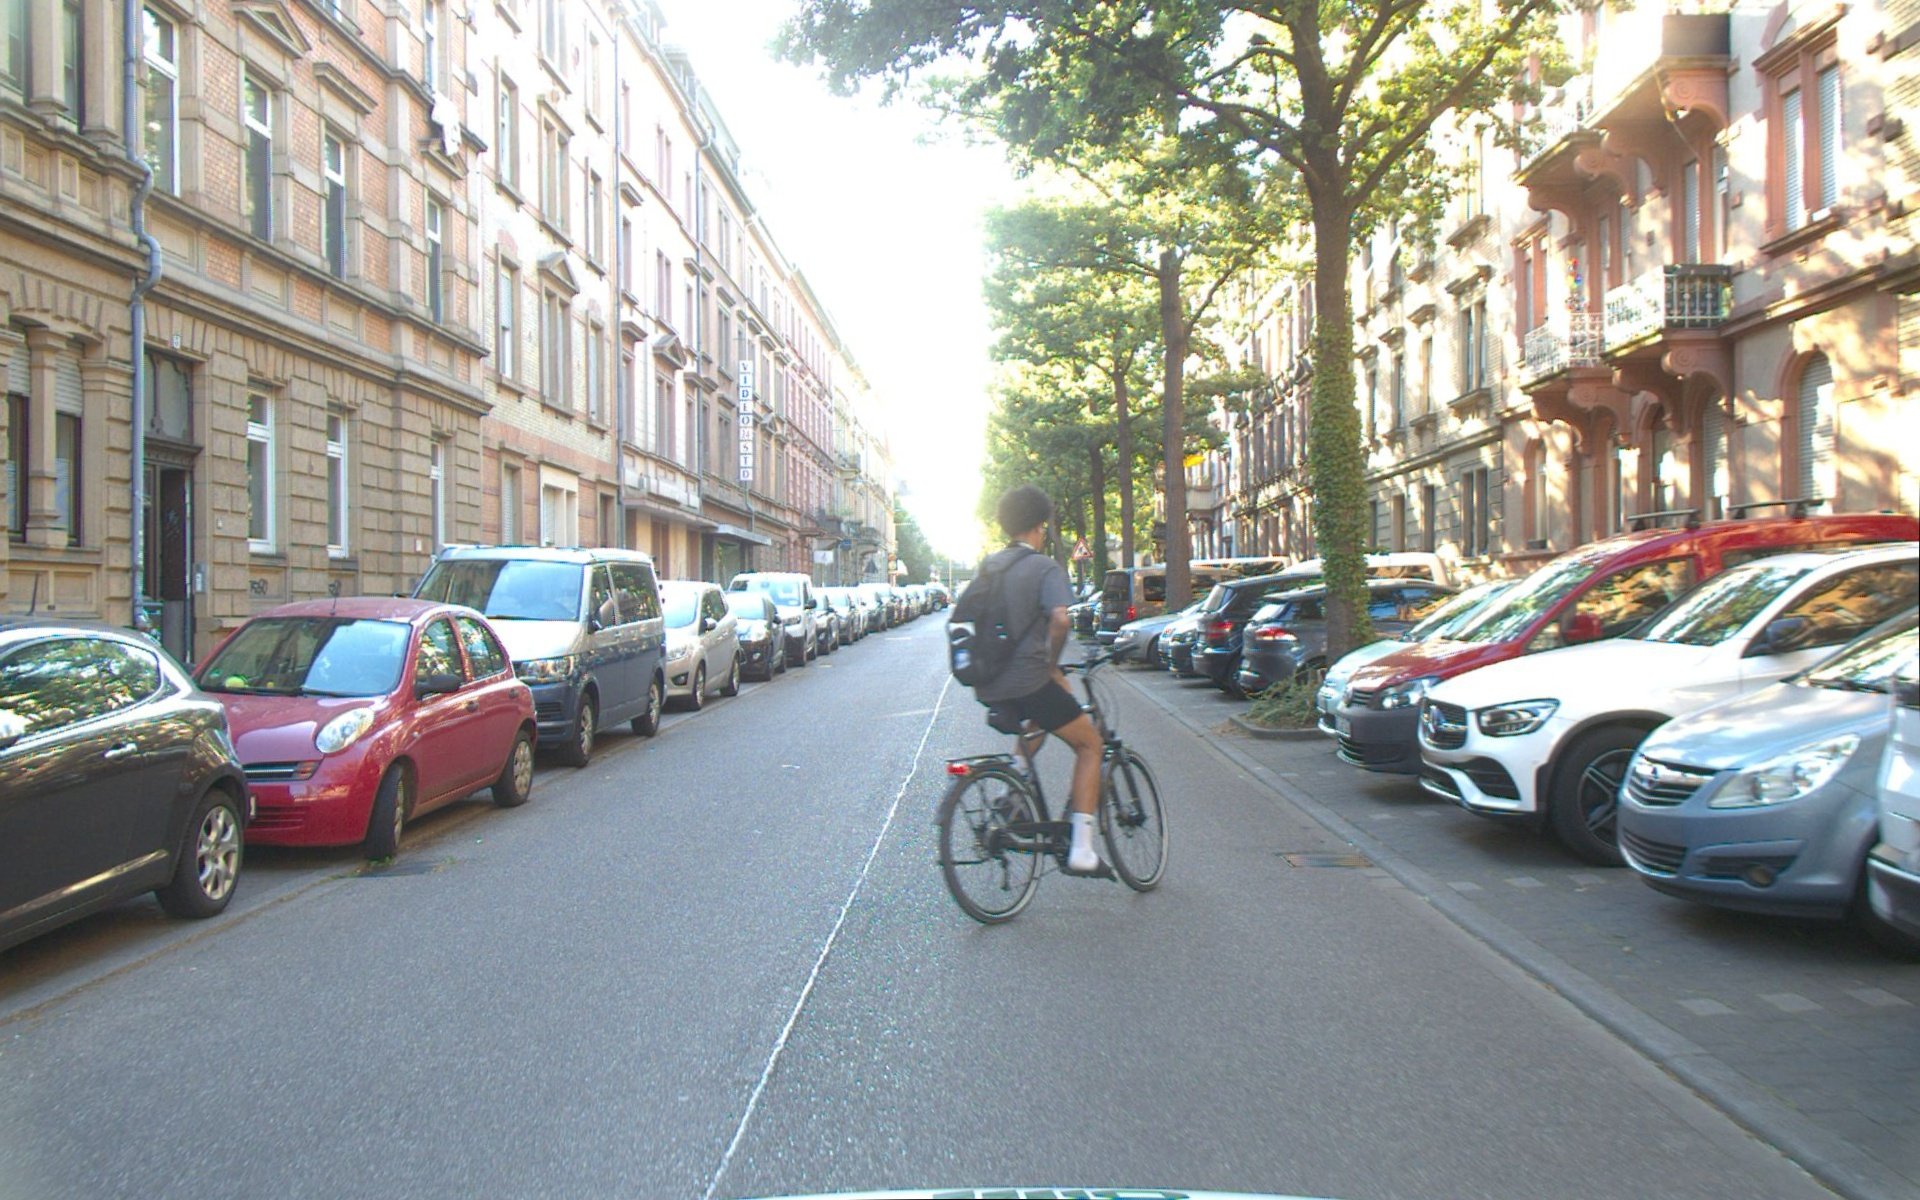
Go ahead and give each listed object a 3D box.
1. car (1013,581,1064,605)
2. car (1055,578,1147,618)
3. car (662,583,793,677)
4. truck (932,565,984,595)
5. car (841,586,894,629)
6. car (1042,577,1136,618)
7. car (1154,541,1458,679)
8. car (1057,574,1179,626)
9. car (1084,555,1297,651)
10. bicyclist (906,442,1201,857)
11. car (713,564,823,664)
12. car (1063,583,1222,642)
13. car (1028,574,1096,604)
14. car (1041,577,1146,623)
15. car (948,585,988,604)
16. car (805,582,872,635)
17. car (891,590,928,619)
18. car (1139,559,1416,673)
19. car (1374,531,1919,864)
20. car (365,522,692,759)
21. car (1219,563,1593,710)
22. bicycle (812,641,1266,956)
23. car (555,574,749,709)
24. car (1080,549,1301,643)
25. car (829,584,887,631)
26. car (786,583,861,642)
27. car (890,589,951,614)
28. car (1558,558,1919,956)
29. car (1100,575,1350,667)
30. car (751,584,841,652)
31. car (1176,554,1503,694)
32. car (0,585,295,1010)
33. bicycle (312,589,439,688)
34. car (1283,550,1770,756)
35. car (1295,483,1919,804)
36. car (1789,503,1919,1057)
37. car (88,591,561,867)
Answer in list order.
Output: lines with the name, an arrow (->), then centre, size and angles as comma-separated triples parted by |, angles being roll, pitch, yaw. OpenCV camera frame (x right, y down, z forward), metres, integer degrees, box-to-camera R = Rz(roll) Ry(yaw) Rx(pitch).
car -> 6.036, -0.536, 126.975 | 3.771, 1.601, 1.718 | -3, 0, 0
car -> 6.304, -0.093, 74.262 | 3.777, 1.601, 1.715 | -3, 0, -7
car -> -4.010, 0.472, 29.099 | 1.722, 1.493, 4.000 | 1, 0, 0
truck -> -0.243, -2.808, 233.175 | 7.164, 4.019, 2.406 | 1, 0, -36
car -> -3.395, 0.256, 61.075 | 1.722, 1.498, 4.059 | -1, 0, 0
car -> 5.594, -0.104, 71.866 | 3.777, 1.601, 1.715 | -3, 0, -7
car -> 5.125, 0.134, 24.921 | 4.135, 1.807, 1.835 | -3, 0, 0
car -> 5.197, 0.000, 54.574 | 3.773, 1.505, 1.717 | -3, 0, -3
car -> 4.956, 0.042, 35.644 | 4.157, 1.826, 1.825 | -3, 0, -19
bicyclist -> 0.476, 0.221, 8.036 | 0.977, 1.821, 1.205 | -1, -1, 30
car -> -3.863, 0.250, 33.988 | 1.722, 1.874, 4.529 | -1, 0, 0
car -> 4.630, 0.305, 42.247 | 3.773, 1.316, 1.717 | -3, 0, -3
car -> 5.938, -0.655, 96.661 | 3.771, 1.601, 1.718 | -3, 0, 0
car -> 5.197, -0.018, 64.534 | 3.777, 1.601, 1.715 | -3, 0, -7
car -> 0.851, -0.571, 172.894 | 3.902, 1.891, 1.753 | 0, 0, 9
car -> -3.633, 0.234, 50.059 | 1.722, 1.498, 4.059 | -1, 0, 0
car -> -2.858, 0.274, 93.726 | 1.953, 1.512, 3.999 | -1, -1, 0
car -> 5.252, 0.248, 27.624 | 4.140, 1.639, 1.832 | -3, 0, -7
car -> 4.797, 0.454, 9.623 | 4.255, 1.583, 1.850 | -3, 1, 0
car -> -4.089, 0.326, 16.663 | 1.794, 1.977, 5.261 | 1, 0, 1
car -> 5.188, 0.417, 19.625 | 3.928, 1.493, 1.734 | -3, 0, 0
bicycle -> 0.523, 0.825, 8.075 | 0.977, 1.178, 2.917 | -1, 0, 30
car -> -4.090, 0.498, 22.639 | 1.717, 1.636, 4.384 | 1, 0, 1
car -> 5.424, -0.106, 39.375 | 4.953, 1.959, 1.835 | -3, 0, 1
car -> -3.442, 0.218, 56.309 | 1.722, 1.498, 4.059 | -1, 0, 0
car -> -3.683, 0.310, 45.188 | 1.722, 1.498, 4.059 | -1, 0, 0
car -> -2.449, 0.117, 104.395 | 1.958, 1.512, 3.988 | -2, -2, 33
car -> 4.911, 0.511, 7.179 | 3.928, 1.459, 1.794 | -3, 0, 0
car -> 4.748, 0.359, 30.008 | 4.138, 1.428, 1.834 | -3, 0, -4
car -> -3.812, 0.381, 39.087 | 1.722, 1.498, 4.059 | -1, 0, 0
car -> 4.997, 0.309, 22.153 | 3.928, 1.635, 1.734 | -3, 0, 0
car -> -4.350, 0.713, 6.570 | 1.722, 1.527, 4.060 | 1, 0, 0
bicycle -> -8.037, 0.490, 22.893 | 0.725, 1.277, 2.827 | 0, 0, 0
car -> 4.900, 0.407, 14.625 | 3.588, 1.480, 1.848 | -3, 1, -5
car -> 4.890, 0.255, 12.211 | 4.354, 1.957, 1.850 | -3, 1, -2
car -> 4.811, 0.455, 4.728 | 3.929, 1.656, 1.805 | -2, 0, -1
car -> -3.995, 0.705, 11.075 | 1.559, 1.501, 3.701 | 1, 0, 3
